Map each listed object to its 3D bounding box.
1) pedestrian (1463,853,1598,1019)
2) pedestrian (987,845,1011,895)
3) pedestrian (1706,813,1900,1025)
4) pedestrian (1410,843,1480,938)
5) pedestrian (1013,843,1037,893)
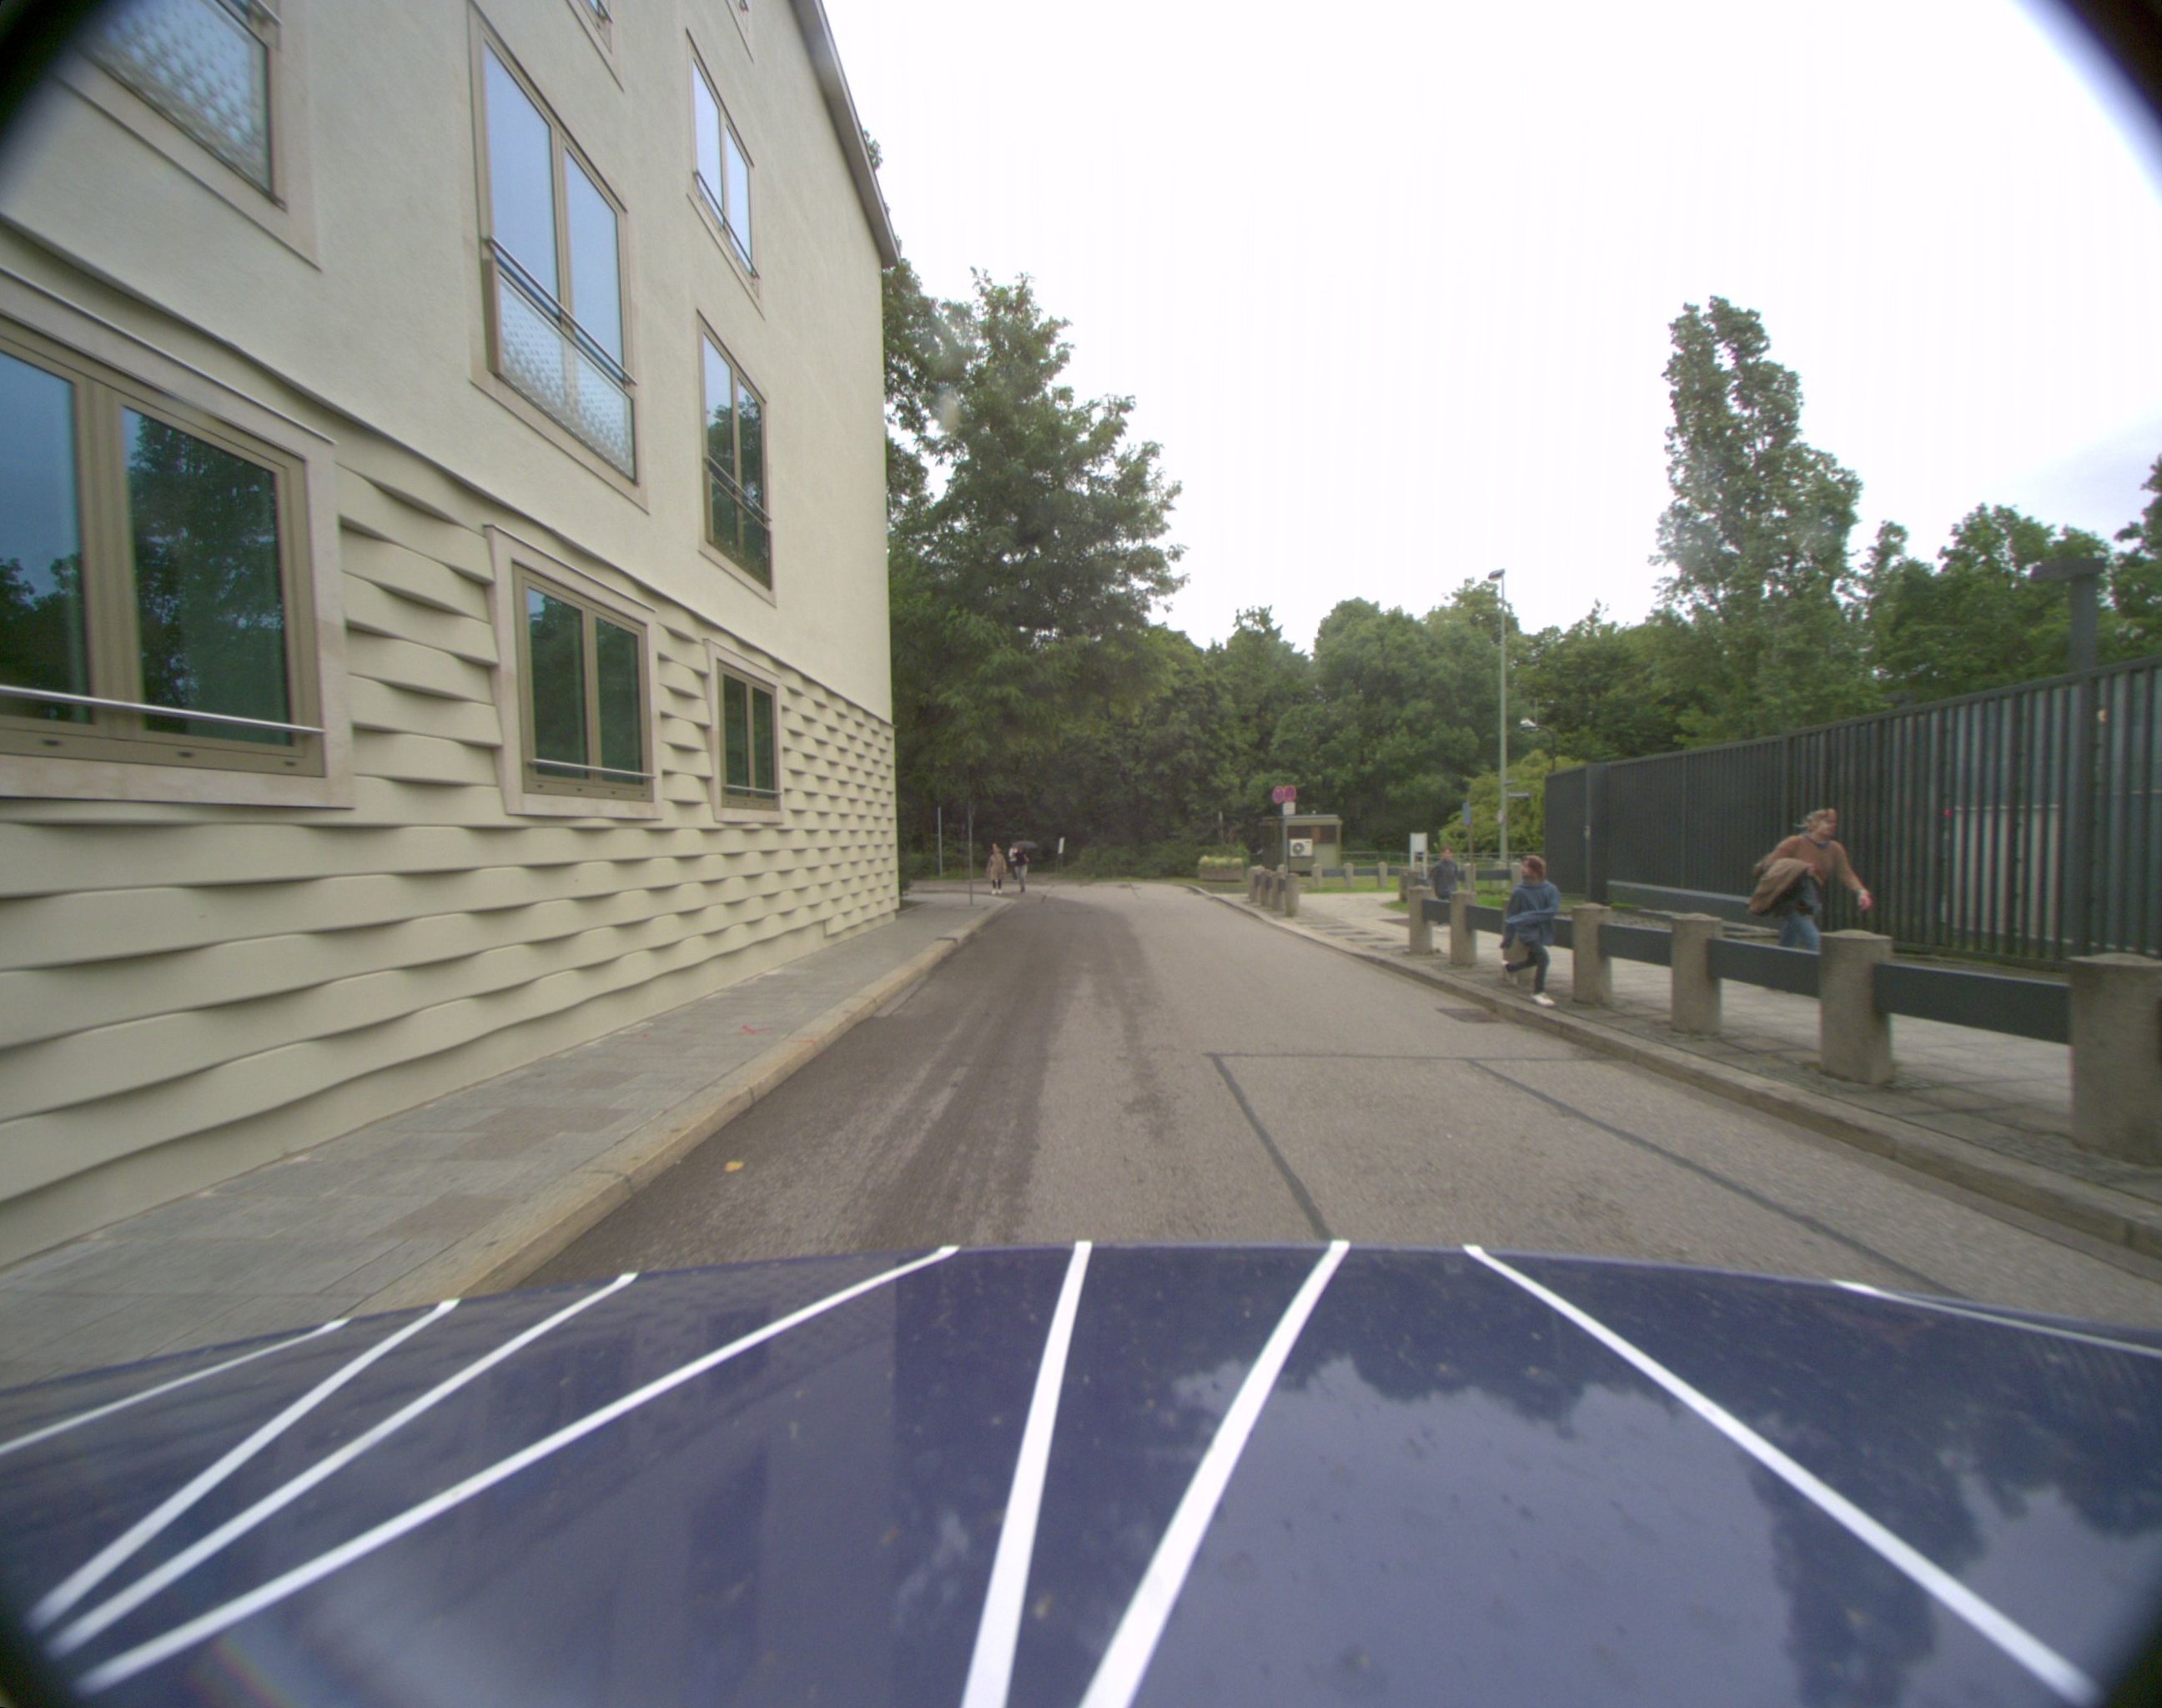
[{"bbox_3d":[4.336,0.742,7.407,0.640,1.459,1.078,-3,1,1],"label":"pedestrian"},{"bbox_3d":[-2.832,0.547,26.246,0.753,1.671,0.655,-1,2,-1],"label":"pedestrian"},{"bbox_3d":[6.305,0.533,6.695,0.826,1.713,0.905,-3,2,5],"label":"pedestrian"},{"bbox_3d":[6.216,0.597,13.018,0.778,1.531,0.933,-3,2,8],"label":"pedestrian"},{"bbox_3d":[-1.969,0.483,26.599,0.753,1.726,0.853,-1,2,-1],"label":"pedestrian"}]
